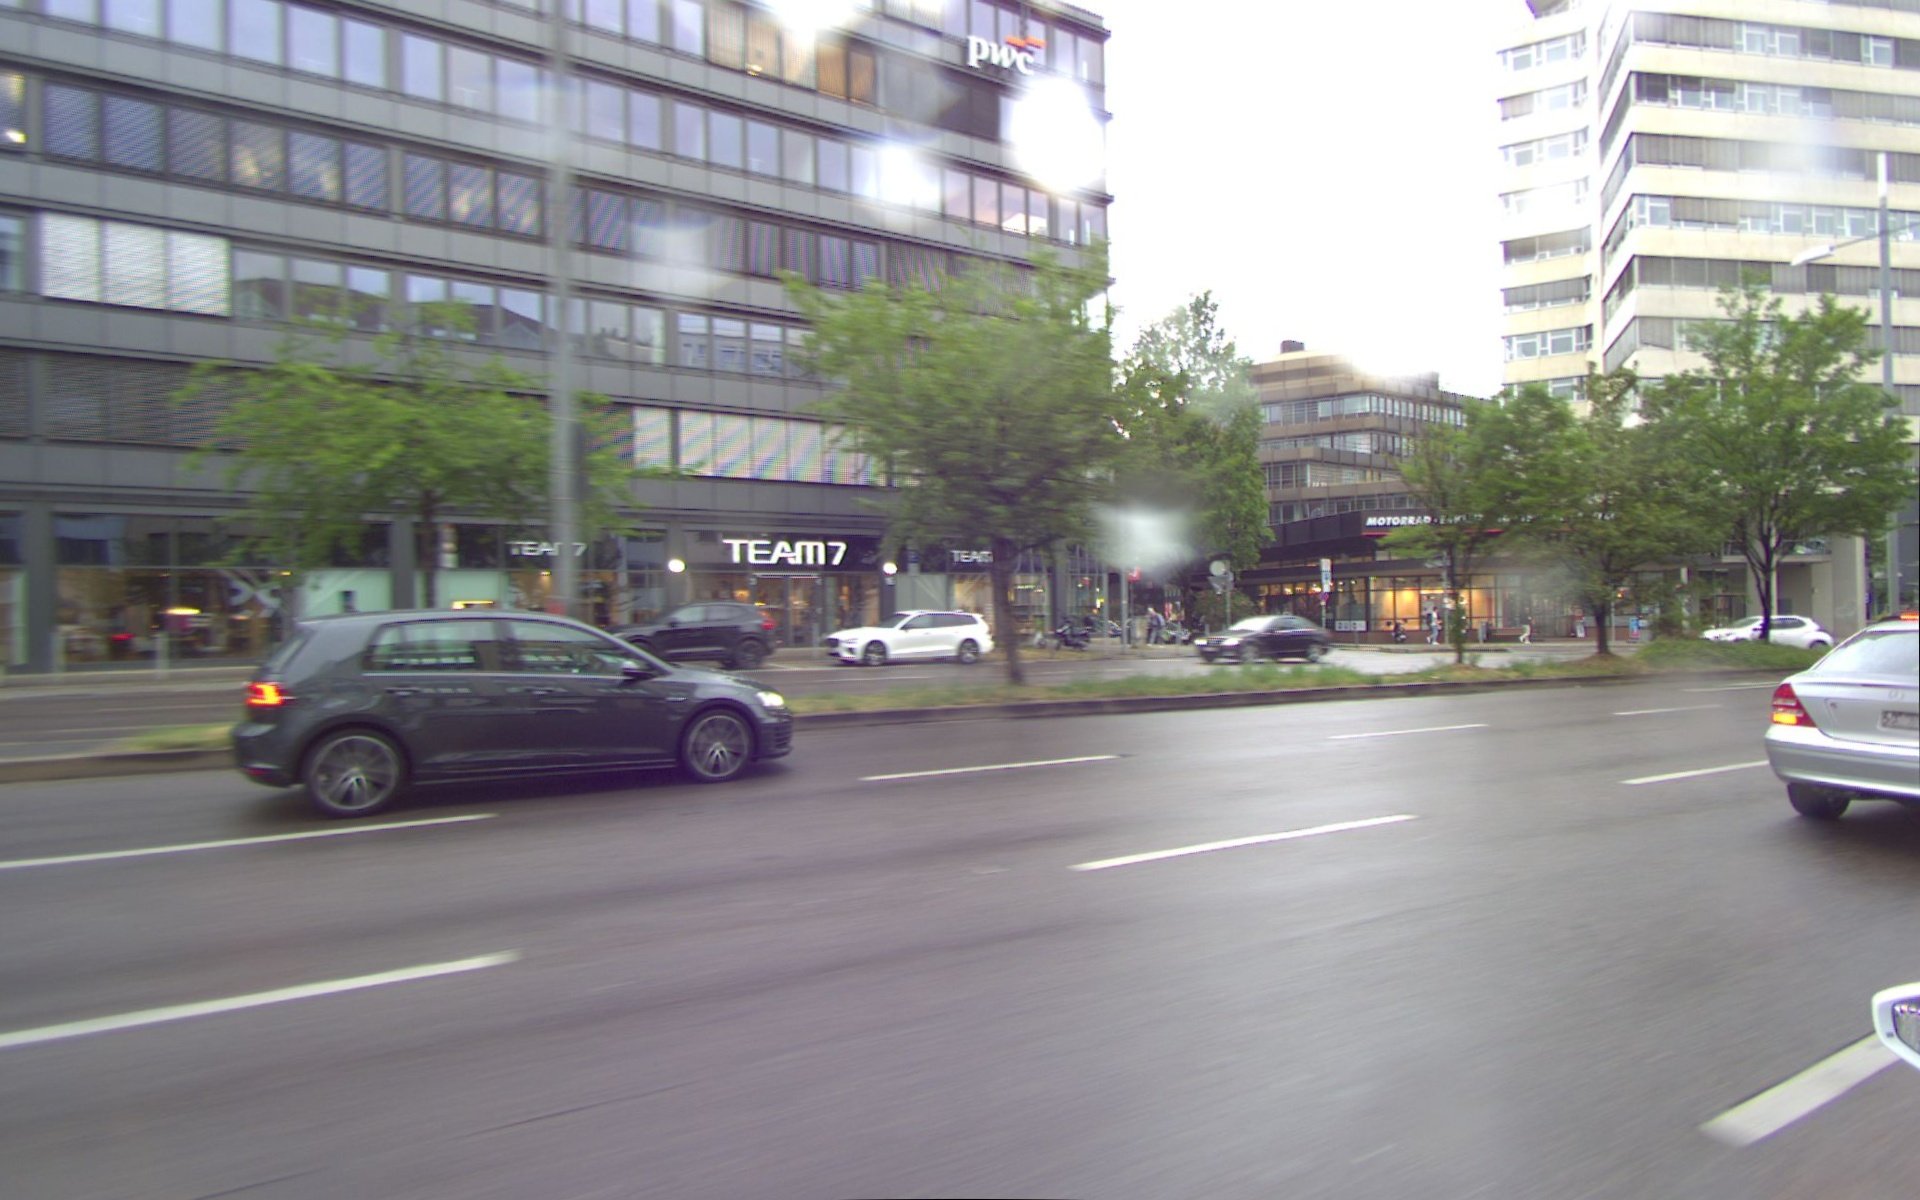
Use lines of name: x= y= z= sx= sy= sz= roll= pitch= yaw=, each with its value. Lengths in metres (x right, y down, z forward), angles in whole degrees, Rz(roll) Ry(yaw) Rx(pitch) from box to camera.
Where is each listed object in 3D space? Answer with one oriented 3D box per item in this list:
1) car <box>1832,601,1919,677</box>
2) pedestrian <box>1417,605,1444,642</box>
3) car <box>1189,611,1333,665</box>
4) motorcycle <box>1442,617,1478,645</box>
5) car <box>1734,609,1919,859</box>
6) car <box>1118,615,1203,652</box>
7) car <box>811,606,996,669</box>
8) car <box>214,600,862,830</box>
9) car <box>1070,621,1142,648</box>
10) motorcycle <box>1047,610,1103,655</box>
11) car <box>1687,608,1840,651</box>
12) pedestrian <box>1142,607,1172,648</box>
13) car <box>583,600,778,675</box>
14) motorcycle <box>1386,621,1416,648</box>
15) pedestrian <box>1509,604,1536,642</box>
car: x=21.646 y=0.844 z=22.328 sx=4.426 sy=1.564 sz=1.986 roll=1 pitch=-1 yaw=-28
pedestrian: x=23.764 y=1.198 z=50.750 sx=0.908 sy=1.857 sz=0.818 roll=0 pitch=-1 yaw=-9
car: x=9.024 y=1.104 z=30.034 sx=4.253 sy=1.495 sz=1.799 roll=1 pitch=-1 yaw=-32
motorcycle: x=26.367 y=1.622 z=53.027 sx=0.788 sy=1.392 sz=2.894 roll=1 pitch=0 yaw=7
car: x=7.527 y=0.837 z=7.200 sx=4.146 sy=1.505 sz=1.675 roll=1 pitch=-1 yaw=-30
car: x=9.826 y=1.620 z=49.519 sx=1.976 sy=1.662 sz=3.968 roll=1 pitch=0 yaw=-30
car: x=-1.496 y=0.997 z=27.378 sx=4.717 sy=1.505 sz=1.799 roll=1 pitch=2 yaw=-31
car: x=-3.304 y=0.745 z=8.464 sx=4.637 sy=1.470 sz=1.828 roll=0 pitch=0 yaw=-33
car: x=7.785 y=1.856 z=53.874 sx=1.825 sy=1.305 sz=3.969 roll=1 pitch=0 yaw=-29
motorcycle: x=3.847 y=1.069 z=33.434 sx=0.845 sy=1.412 sz=2.363 roll=4 pitch=1 yaw=33
car: x=28.999 y=1.056 z=36.372 sx=4.000 sy=1.450 sz=1.689 roll=0 pitch=0 yaw=11
pedestrian: x=8.184 y=1.135 z=41.672 sx=0.954 sy=1.659 sz=0.780 roll=1 pitch=-1 yaw=-31
car: x=-6.734 y=0.876 z=24.307 sx=4.257 sy=1.683 sz=1.801 roll=1 pitch=0 yaw=-29
motorcycle: x=23.454 y=1.831 z=53.519 sx=0.709 sy=1.351 sz=2.822 roll=1 pitch=0 yaw=8
pedestrian: x=28.075 y=1.164 z=50.110 sx=0.908 sy=1.857 sz=0.728 roll=1 pitch=-1 yaw=-10
